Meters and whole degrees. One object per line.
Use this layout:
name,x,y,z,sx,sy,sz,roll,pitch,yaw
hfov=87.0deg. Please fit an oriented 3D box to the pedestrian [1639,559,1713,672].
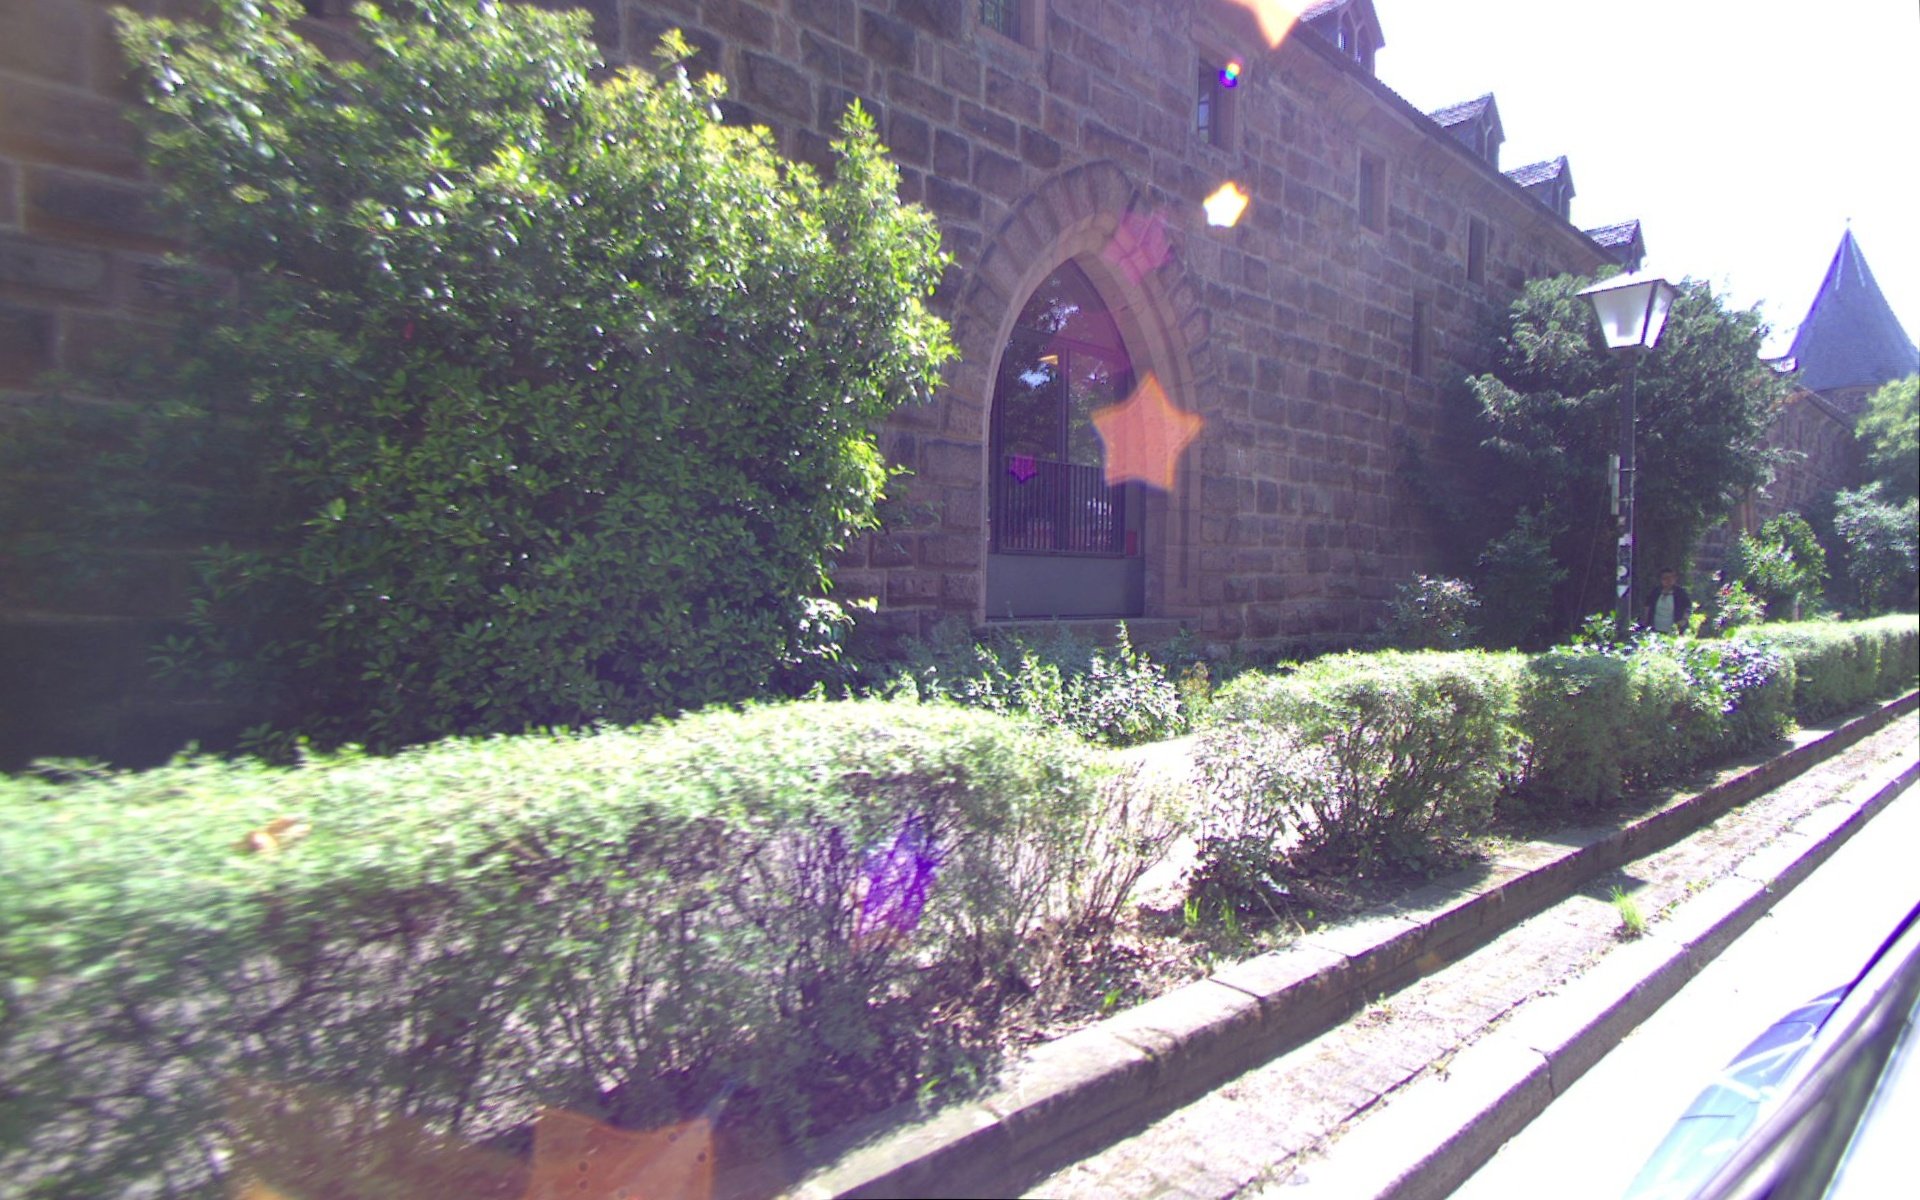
pedestrian,10.969,0.219,15.506,0.692,1.673,0.700,0,2,-38
